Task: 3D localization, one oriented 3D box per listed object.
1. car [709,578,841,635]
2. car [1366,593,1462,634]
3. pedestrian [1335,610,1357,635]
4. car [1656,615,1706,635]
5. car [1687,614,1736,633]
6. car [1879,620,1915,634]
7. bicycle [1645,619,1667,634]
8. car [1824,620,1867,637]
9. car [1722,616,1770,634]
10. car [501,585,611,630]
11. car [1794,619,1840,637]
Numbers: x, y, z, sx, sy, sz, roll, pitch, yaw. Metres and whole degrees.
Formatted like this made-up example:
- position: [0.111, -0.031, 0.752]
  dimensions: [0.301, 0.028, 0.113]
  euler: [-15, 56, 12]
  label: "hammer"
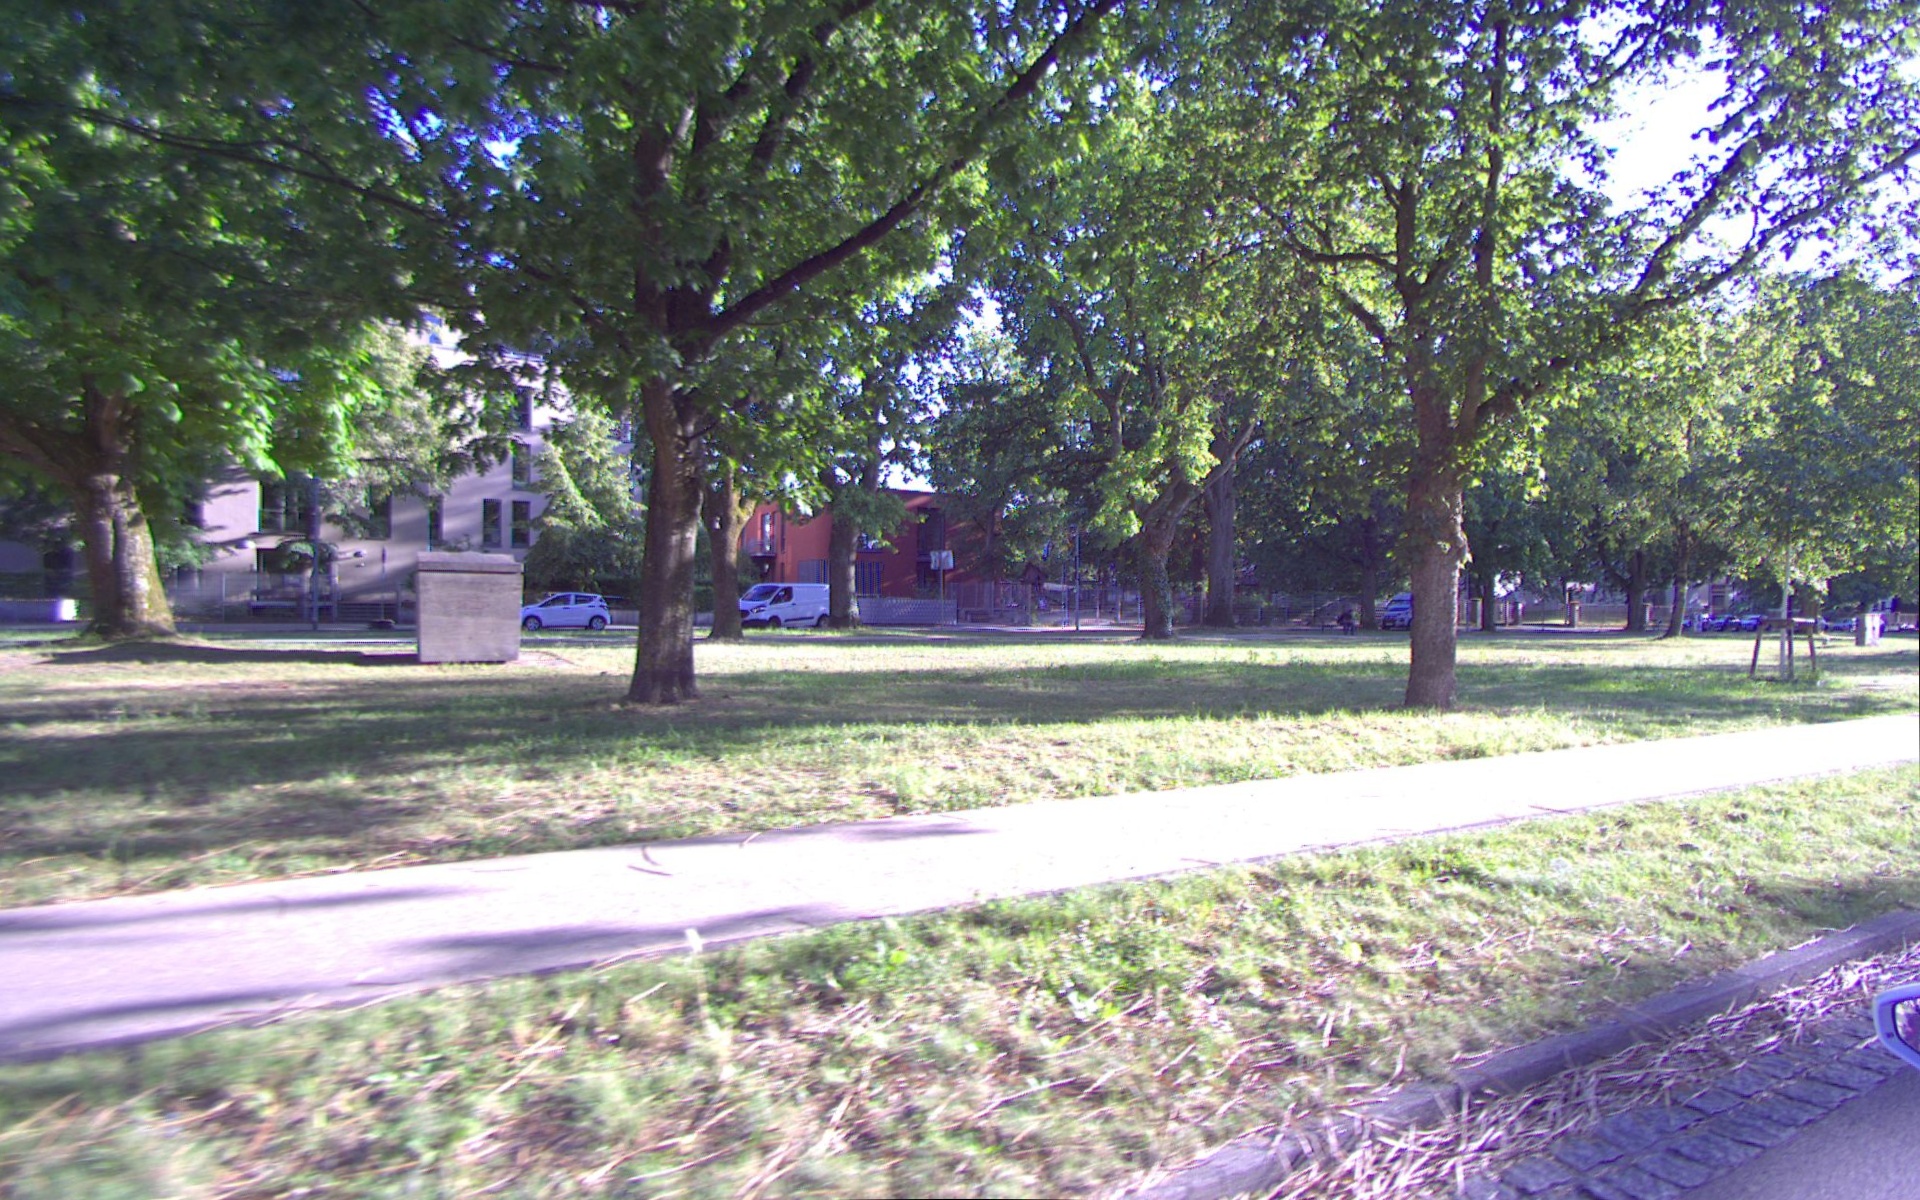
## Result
- position: [-7.463, 0.258, 41.031]
  dimensions: [2.631, 2.142, 4.957]
  euler: [2, 0, 32]
  label: "car"
- position: [29.675, 0.912, 65.642]
  dimensions: [6.247, 2.496, 2.706]
  euler: [2, -1, -32]
  label: "car"
- position: [15.768, 0.905, 41.011]
  dimensions: [0.601, 1.000, 0.547]
  euler: [1, -1, -19]
  label: "pedestrian"
- position: [60.291, 2.093, 83.988]
  dimensions: [3.952, 1.528, 1.985]
  euler: [2, -1, -29]
  label: "car"
- position: [64.597, 2.012, 86.339]
  dimensions: [3.952, 1.528, 1.985]
  euler: [2, -1, -29]
  label: "car"
- position: [100.598, 2.924, 107.867]
  dimensions: [3.952, 1.437, 1.746]
  euler: [2, -1, -29]
  label: "car"
- position: [58.758, 2.232, 84.809]
  dimensions: [2.309, 1.191, 0.653]
  euler: [2, -1, -33]
  label: "bicycle"
- position: [87.853, 2.844, 99.675]
  dimensions: [4.066, 1.528, 1.985]
  euler: [2, -1, -29]
  label: "car"
- position: [69.783, 2.199, 89.179]
  dimensions: [4.066, 1.528, 1.985]
  euler: [2, -1, -29]
  label: "car"
- position: [-15.652, 0.294, 38.932]
  dimensions: [3.694, 1.639, 1.984]
  euler: [1, 1, -30]
  label: "car"
- position: [80.450, 2.623, 94.288]
  dimensions: [4.066, 1.528, 1.985]
  euler: [2, -1, -29]
  label: "car"
